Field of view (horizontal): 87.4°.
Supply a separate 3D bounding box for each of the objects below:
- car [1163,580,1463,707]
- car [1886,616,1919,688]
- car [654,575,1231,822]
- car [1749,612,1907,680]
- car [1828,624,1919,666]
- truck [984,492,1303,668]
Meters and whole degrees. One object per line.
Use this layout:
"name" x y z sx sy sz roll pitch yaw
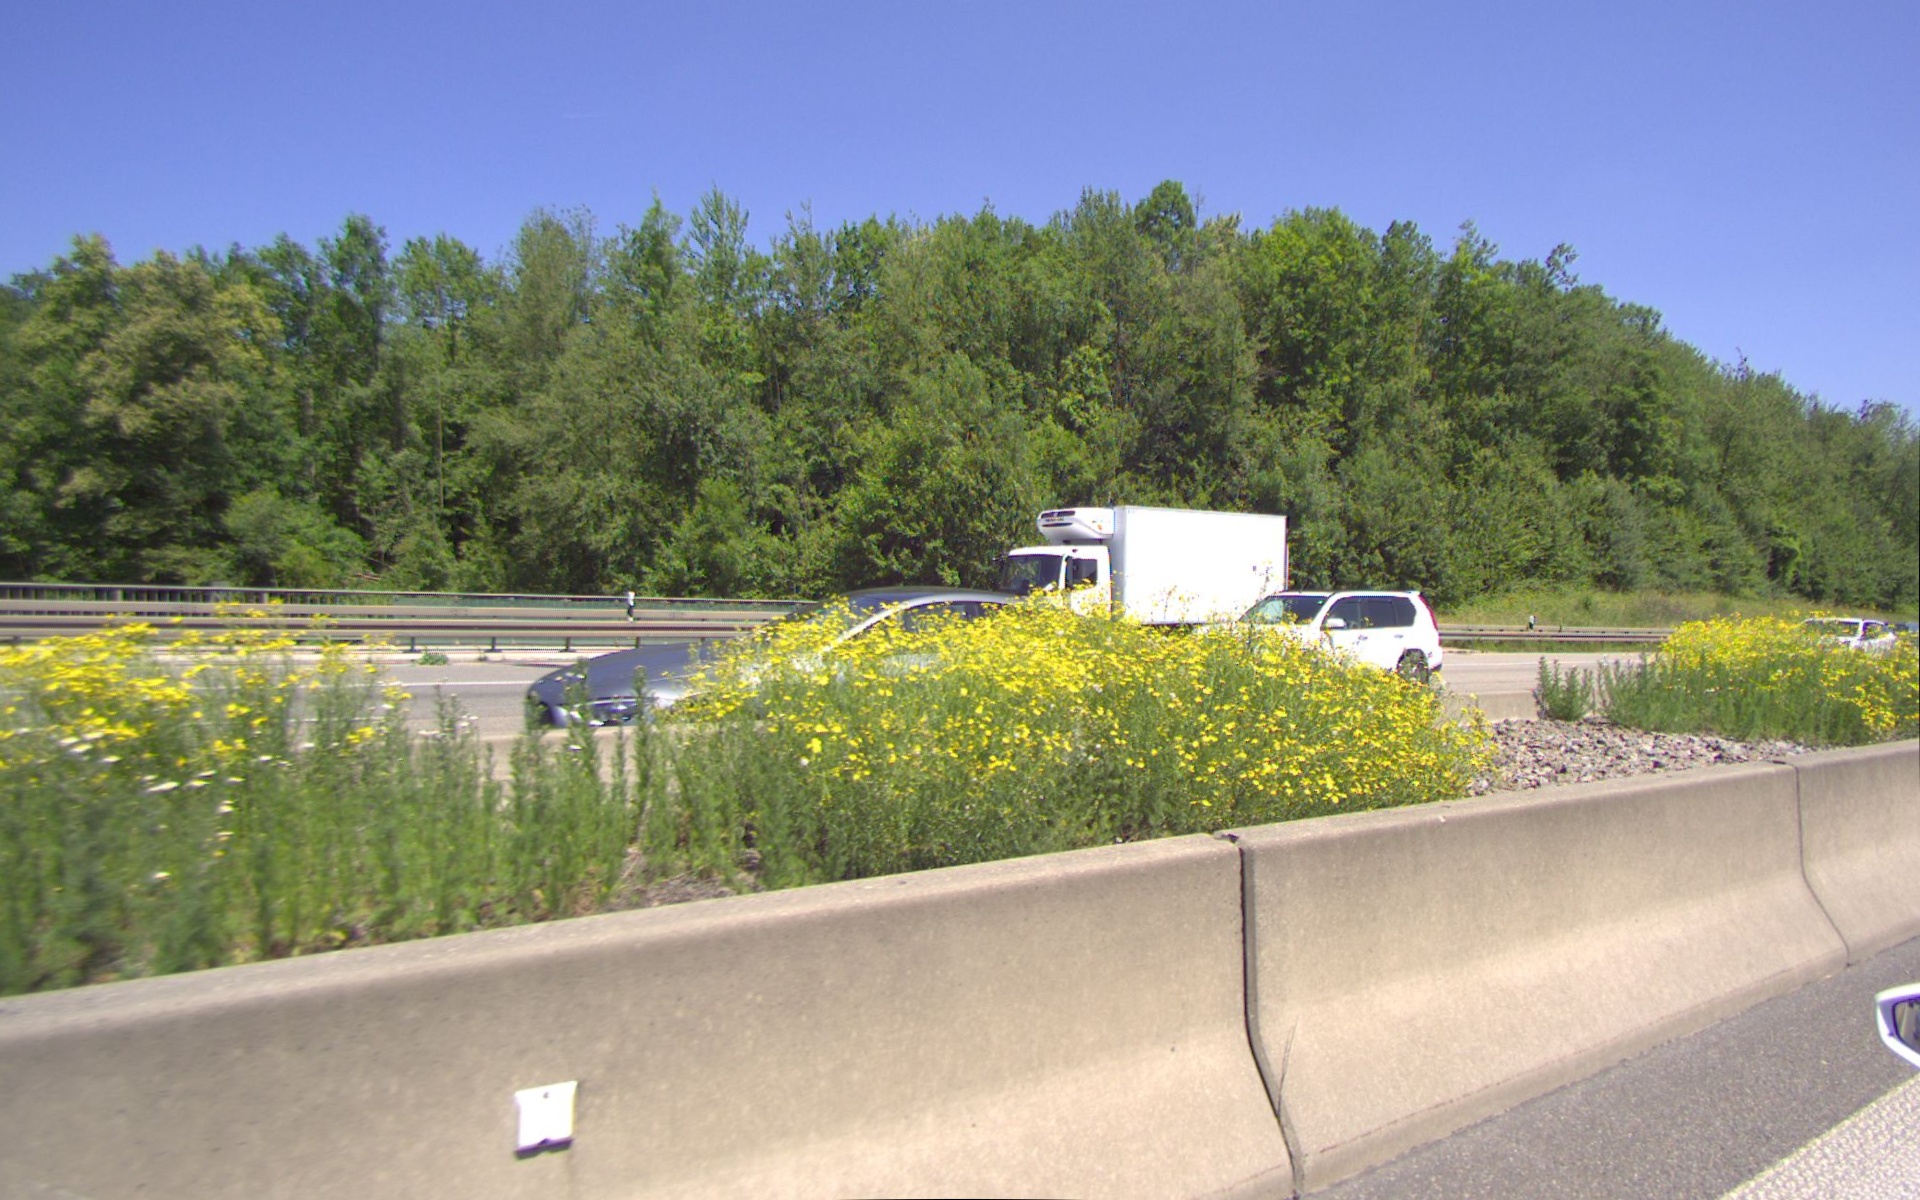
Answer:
"car" 5.556 0.621 15.702 4.476 1.724 1.984 1 0 -30
"car" 21.100 1.093 20.879 3.988 1.447 1.624 1 0 -30
"car" -0.070 0.599 7.651 4.029 1.438 1.797 1 0 -30
"car" 21.977 1.134 25.407 3.953 1.567 1.834 1 0 -30
"car" 36.281 1.746 39.417 4.636 1.500 1.983 1 0 -31
"truck" 4.351 -0.351 23.144 7.232 3.521 2.721 1 1 -32
